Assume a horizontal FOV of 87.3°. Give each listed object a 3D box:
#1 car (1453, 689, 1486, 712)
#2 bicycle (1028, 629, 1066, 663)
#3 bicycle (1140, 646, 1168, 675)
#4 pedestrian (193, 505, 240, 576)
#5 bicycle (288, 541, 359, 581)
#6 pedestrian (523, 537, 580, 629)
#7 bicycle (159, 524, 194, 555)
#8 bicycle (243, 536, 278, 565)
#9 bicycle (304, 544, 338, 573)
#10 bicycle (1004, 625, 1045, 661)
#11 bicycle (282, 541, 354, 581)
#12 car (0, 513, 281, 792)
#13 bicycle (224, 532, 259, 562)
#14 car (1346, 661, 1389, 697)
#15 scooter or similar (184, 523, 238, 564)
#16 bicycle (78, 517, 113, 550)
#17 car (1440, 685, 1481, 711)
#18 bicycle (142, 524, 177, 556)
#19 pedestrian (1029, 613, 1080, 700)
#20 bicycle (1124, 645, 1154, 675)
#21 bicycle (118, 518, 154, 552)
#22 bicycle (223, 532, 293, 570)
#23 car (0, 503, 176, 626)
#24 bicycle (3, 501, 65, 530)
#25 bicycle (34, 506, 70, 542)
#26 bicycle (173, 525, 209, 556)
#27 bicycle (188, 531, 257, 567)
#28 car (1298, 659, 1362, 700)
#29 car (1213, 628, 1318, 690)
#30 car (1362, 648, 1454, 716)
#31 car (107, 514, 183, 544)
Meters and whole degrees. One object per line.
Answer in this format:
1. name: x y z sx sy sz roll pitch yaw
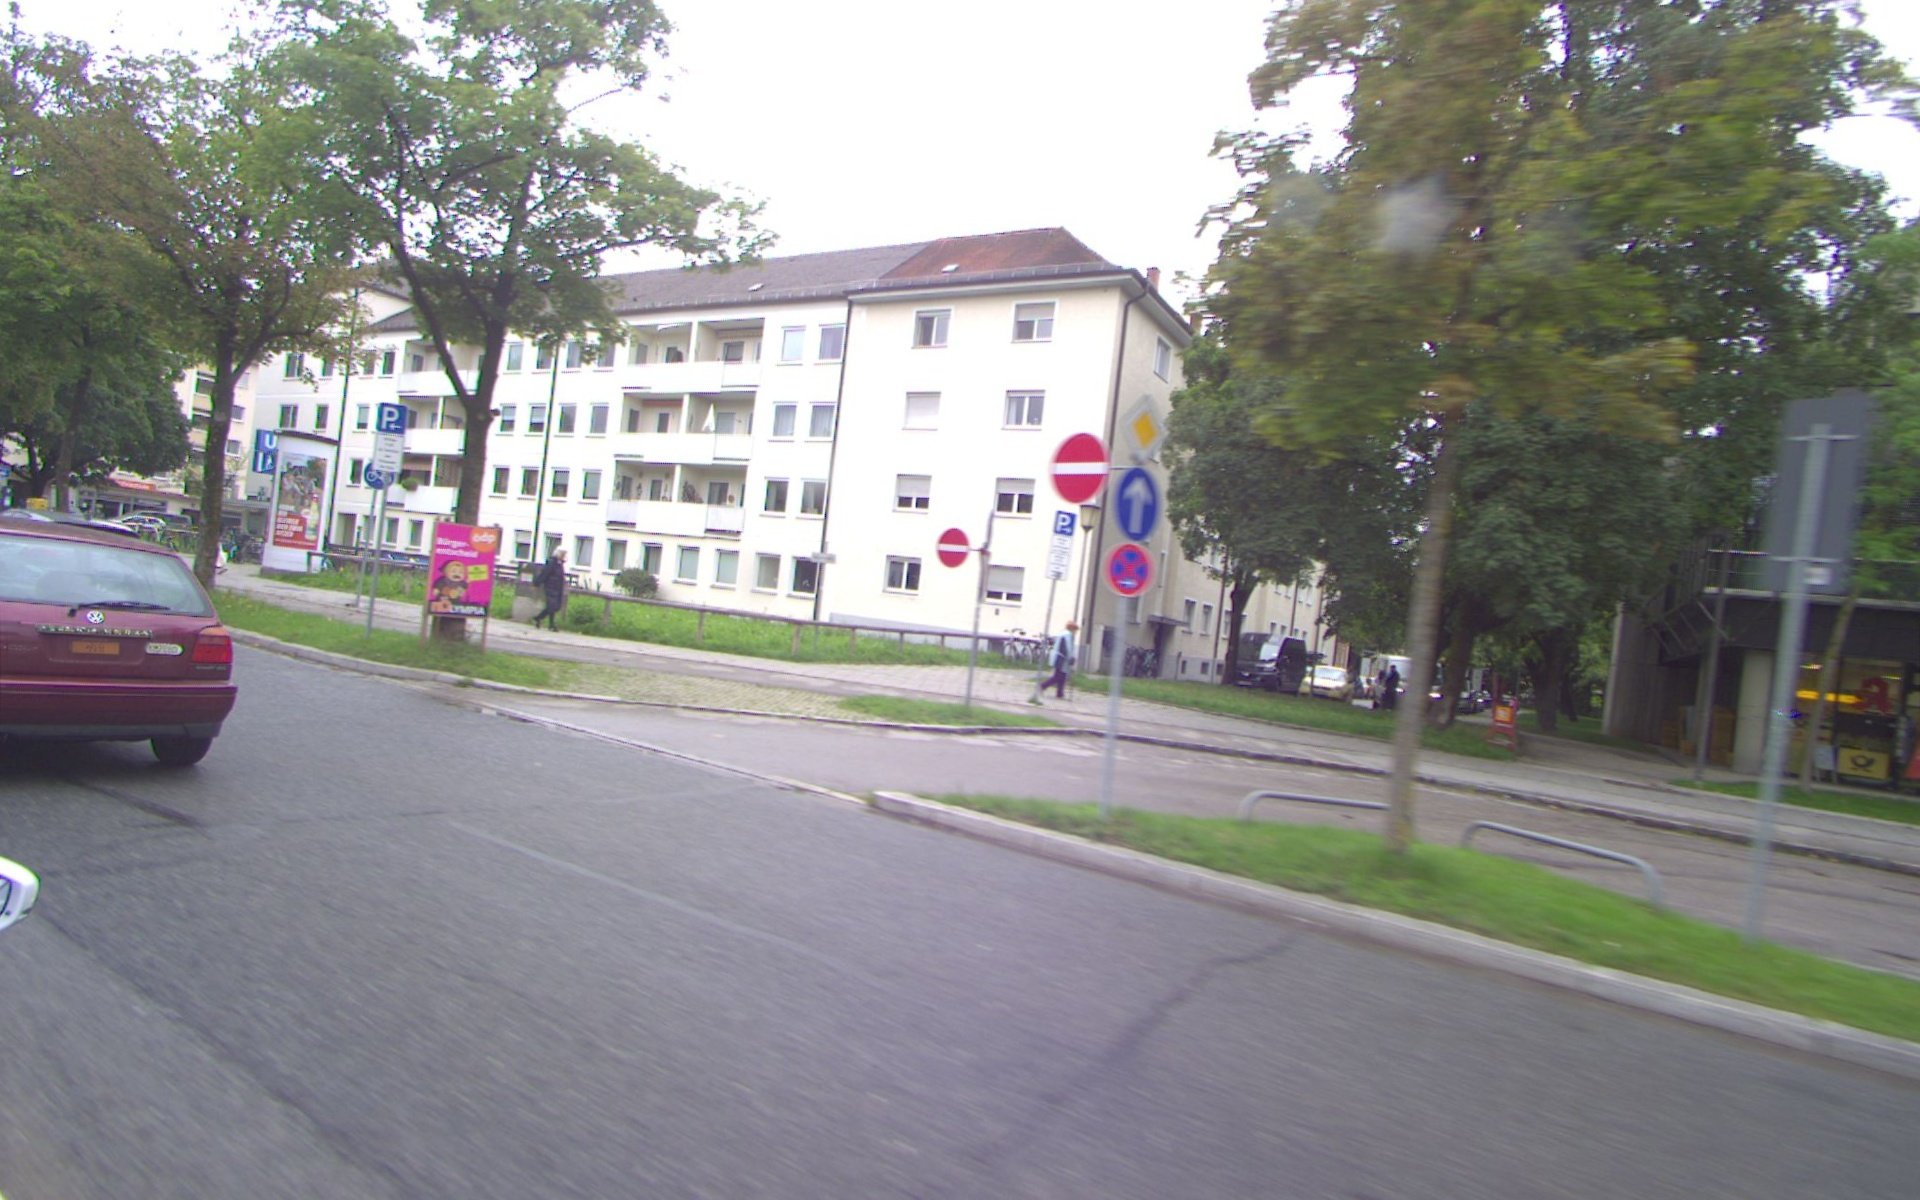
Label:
1. car: 34.304 6.751 67.803 1.556 1.216 3.749 8 0 22
2. bicycle: 2.755 1.461 31.710 0.448 0.983 1.695 7 0 28
3. bicycle: 7.139 2.233 36.994 0.448 0.983 1.695 7 0 28
4. pedestrian: -19.743 -1.581 26.704 0.835 1.772 0.639 7 2 33
5. bicycle: -20.102 -1.221 31.818 0.425 1.041 1.881 7 0 26
6. pedestrian: -8.204 -0.332 20.214 0.590 1.750 0.642 7 -1 20
7. bicycle: -30.253 -2.343 38.842 1.853 1.041 0.431 7 1 33
8. bicycle: -28.796 -2.040 41.401 1.853 1.041 0.431 7 1 33
9. bicycle: -27.214 -1.777 42.845 1.853 1.041 0.431 7 1 33
10. bicycle: 1.947 1.303 30.122 0.448 0.983 1.695 7 0 28
11. bicycle: -19.872 -1.183 31.172 0.425 1.041 1.882 6 0 24
12. car: -6.281 0.133 6.393 3.853 1.399 1.686 6 -2 31
13. bicycle: -29.116 -2.160 40.757 1.853 1.041 0.431 7 1 33
14. car: 21.224 4.093 52.304 1.558 1.557 3.745 8 0 28
15. scooter or similar: -25.440 -1.922 34.198 1.367 1.215 0.358 6 1 -10
16. bicycle: -31.714 -2.445 36.905 1.853 1.041 0.431 7 1 33
17. car: 27.256 5.332 54.897 1.565 1.028 3.749 8 0 22
18. bicycle: -30.562 -2.300 38.384 1.853 1.041 0.431 7 1 33
19. pedestrian: 1.839 1.095 19.615 0.767 1.593 0.580 7 -1 0
20. bicycle: 6.315 2.123 35.422 0.448 0.983 1.695 7 0 28
21. bicycle: -30.998 -2.455 37.838 1.853 1.115 0.431 7 1 33
22. bicycle: -23.742 -1.646 34.066 0.425 1.041 1.880 7 0 29
23. car: -13.962 -0.629 15.456 4.048 1.482 1.685 7 -2 33
24. bicycle: -41.300 -3.763 44.896 0.549 0.950 1.880 6 -2 33
25. bicycle: -32.675 -2.733 36.181 1.853 1.148 0.431 7 1 33
26. bicycle: -30.025 -2.311 39.269 1.853 1.041 0.431 7 1 33
27. bicycle: -25.785 -1.785 35.220 0.425 1.041 1.880 7 0 29
28. car: 13.752 2.923 37.236 1.558 1.216 3.744 8 0 29
29. car: 12.183 2.381 39.762 2.307 2.023 6.097 7 0 32
30. car: 16.793 2.999 38.073 2.301 2.078 6.112 7 0 18
31. car: -55.854 -4.863 68.989 1.840 1.434 3.554 7 -1 31
